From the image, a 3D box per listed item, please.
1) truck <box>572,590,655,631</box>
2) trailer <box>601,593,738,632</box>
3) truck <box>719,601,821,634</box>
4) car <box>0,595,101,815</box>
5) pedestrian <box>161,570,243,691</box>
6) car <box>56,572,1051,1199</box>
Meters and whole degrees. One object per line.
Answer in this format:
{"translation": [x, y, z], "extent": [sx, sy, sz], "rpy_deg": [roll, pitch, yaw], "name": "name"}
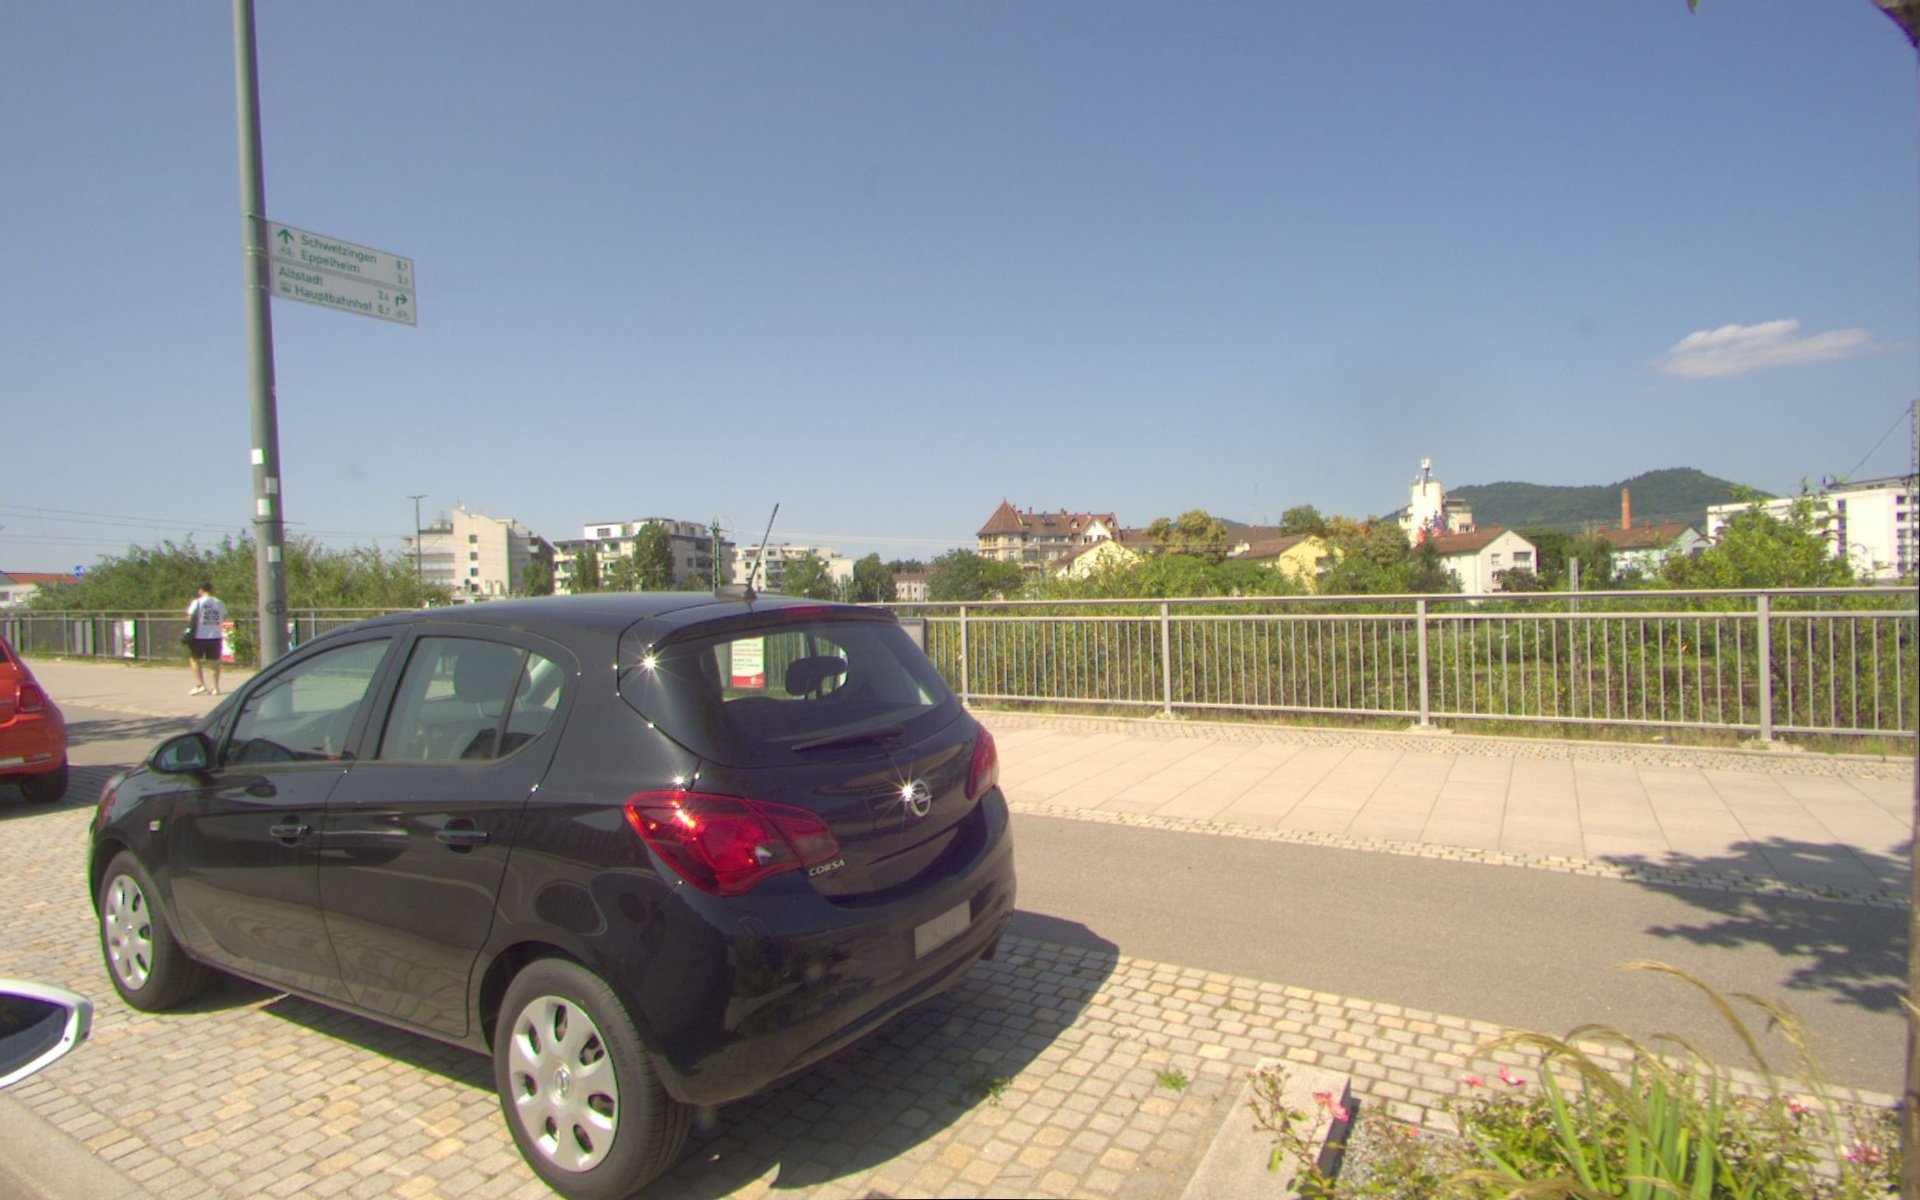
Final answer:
{"translation": [-29.622, 0.996, 85.872], "extent": [3.672, 3.244, 6.485], "rpy_deg": [-1, -2, 17], "name": "truck"}
{"translation": [-26.934, 1.357, 94.787], "extent": [3.674, 3.243, 17.243], "rpy_deg": [-1, -2, 17], "name": "trailer"}
{"translation": [-21.288, 2.163, 114.322], "extent": [3.674, 3.243, 17.876], "rpy_deg": [-1, -2, 17], "name": "truck"}
{"translation": [-8.646, 0.763, 7.939], "extent": [3.859, 1.561, 1.666], "rpy_deg": [0, 2, 32], "name": "car"}
{"translation": [-11.970, 0.486, 15.814], "extent": [0.872, 1.853, 0.757], "rpy_deg": [-1, -2, 32], "name": "pedestrian"}
{"translation": [-1.595, 0.738, 3.666], "extent": [3.495, 1.577, 1.577], "rpy_deg": [0, 2, 32], "name": "car"}
